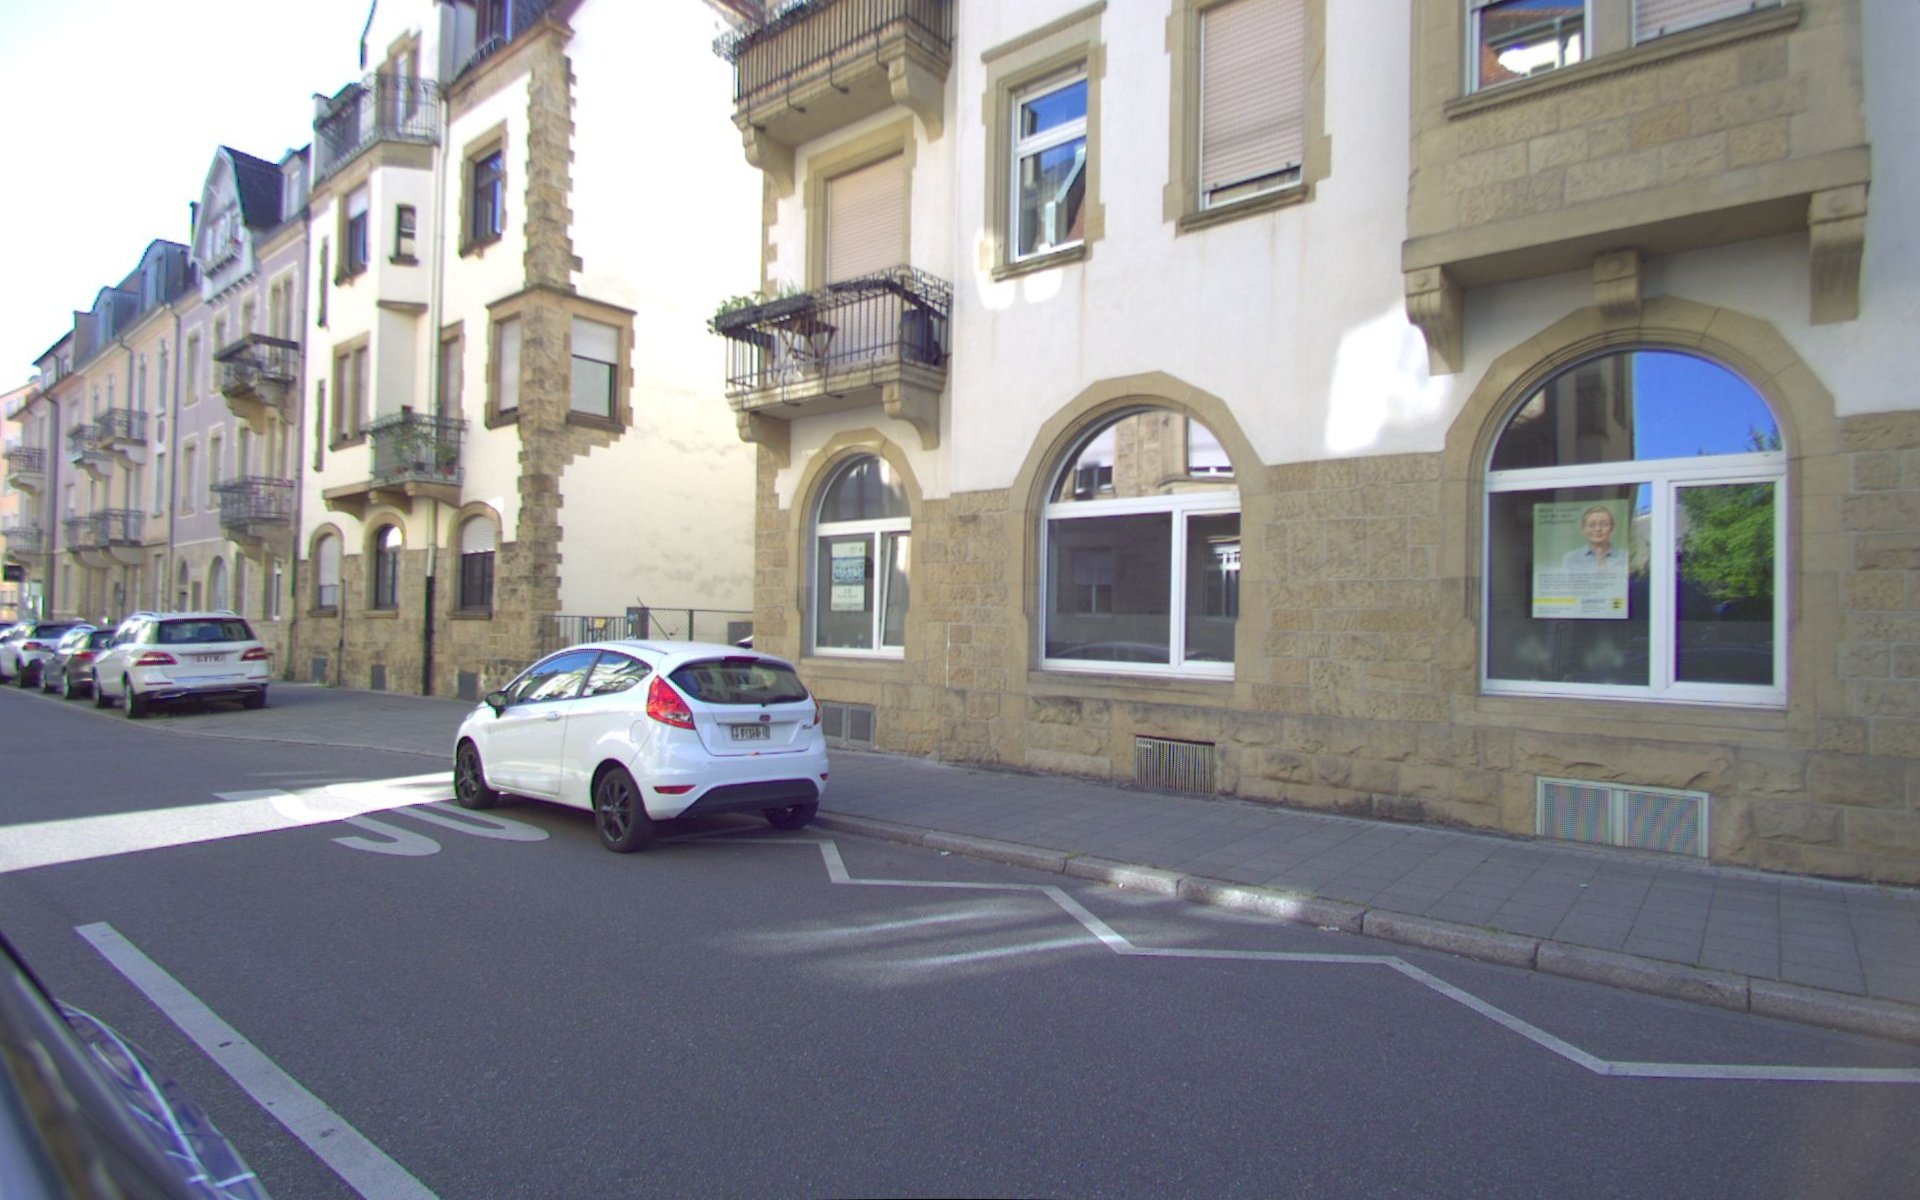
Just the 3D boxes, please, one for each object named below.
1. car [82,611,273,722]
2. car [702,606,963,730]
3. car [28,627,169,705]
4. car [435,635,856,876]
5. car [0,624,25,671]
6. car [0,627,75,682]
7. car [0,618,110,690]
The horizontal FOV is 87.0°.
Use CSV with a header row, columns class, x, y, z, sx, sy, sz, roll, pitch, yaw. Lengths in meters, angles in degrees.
class,x,y,z,sx,sy,sz,roll,pitch,yaw
car,-14.112,1.099,18.155,4.724,1.735,1.872,-1,-2,42
car,-1.931,1.041,16.321,1.908,1.741,3.928,-2,-3,40
car,-18.602,1.337,21.797,4.275,1.498,1.558,-1,-1,39
car,-2.692,1.041,8.231,3.734,1.475,1.616,-1,-2,43
car,-33.056,1.591,34.120,3.719,1.550,1.698,-1,-2,38
car,-26.864,1.523,28.857,3.658,1.404,1.658,-1,1,36
car,-22.856,1.299,25.269,4.015,1.595,1.698,-1,1,38
